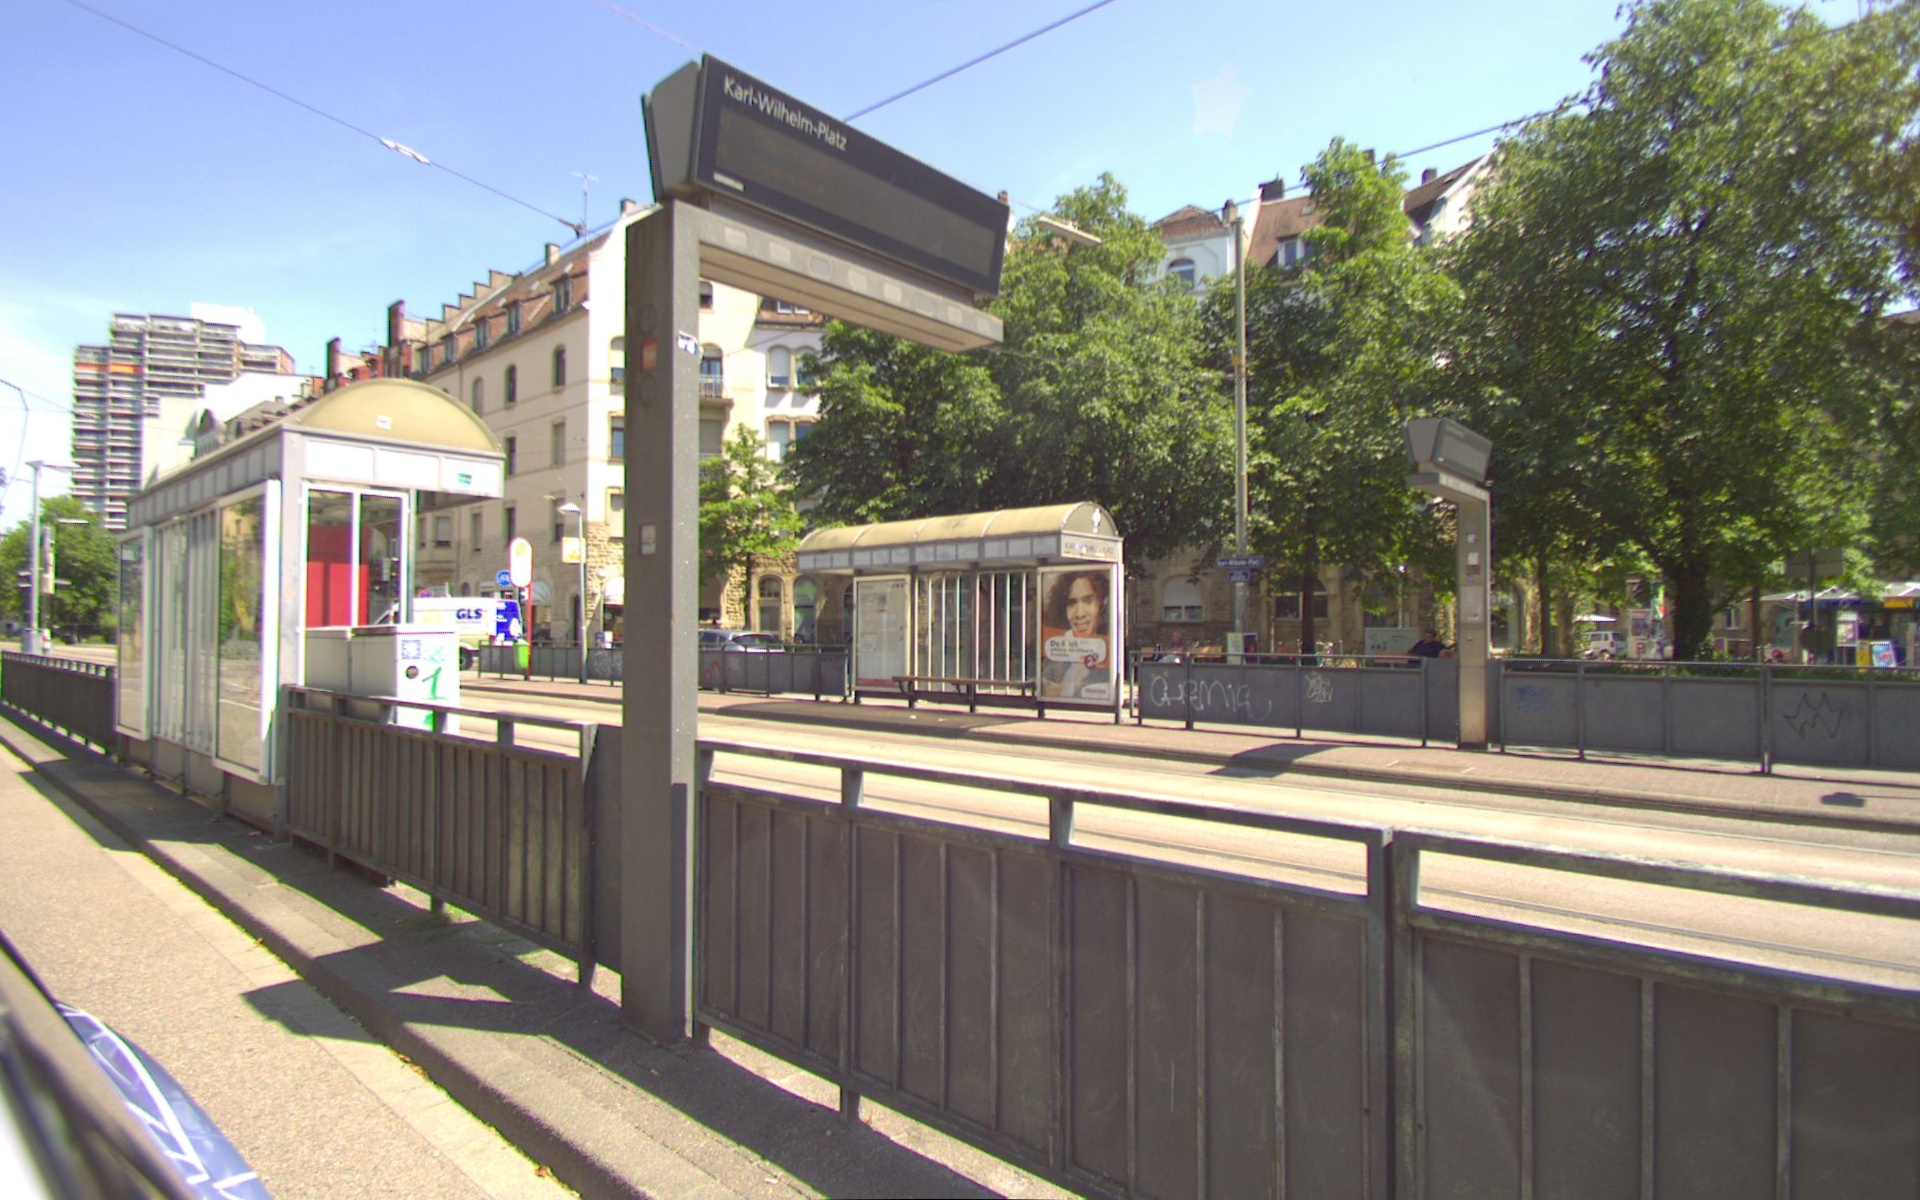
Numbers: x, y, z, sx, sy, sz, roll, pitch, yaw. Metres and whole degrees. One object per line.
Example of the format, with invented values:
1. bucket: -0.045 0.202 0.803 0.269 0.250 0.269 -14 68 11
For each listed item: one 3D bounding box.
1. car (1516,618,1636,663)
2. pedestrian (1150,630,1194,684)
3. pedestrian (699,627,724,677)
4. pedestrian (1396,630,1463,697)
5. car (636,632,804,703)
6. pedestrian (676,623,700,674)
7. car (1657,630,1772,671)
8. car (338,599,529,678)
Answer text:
1. car: 26.722 1.708 44.004 1.966 1.803 4.011 -1 0 -33
2. pedestrian: 5.097 1.359 24.310 0.930 1.253 0.860 -1 0 17
3. pedestrian: -7.979 1.662 32.489 0.473 1.563 0.586 -2 -3 39
4. pedestrian: 9.287 1.242 20.035 0.852 1.253 0.939 -1 0 -43
5. car: -5.594 1.492 23.356 3.998 1.404 1.789 -1 0 41
6. pedestrian: -8.877 1.575 33.057 0.473 1.659 0.586 -2 -3 41
7. car: 35.791 2.353 48.097 1.736 1.721 3.998 -1 0 -33
8. car: -18.796 1.333 36.294 5.752 2.693 2.271 -1 0 4
